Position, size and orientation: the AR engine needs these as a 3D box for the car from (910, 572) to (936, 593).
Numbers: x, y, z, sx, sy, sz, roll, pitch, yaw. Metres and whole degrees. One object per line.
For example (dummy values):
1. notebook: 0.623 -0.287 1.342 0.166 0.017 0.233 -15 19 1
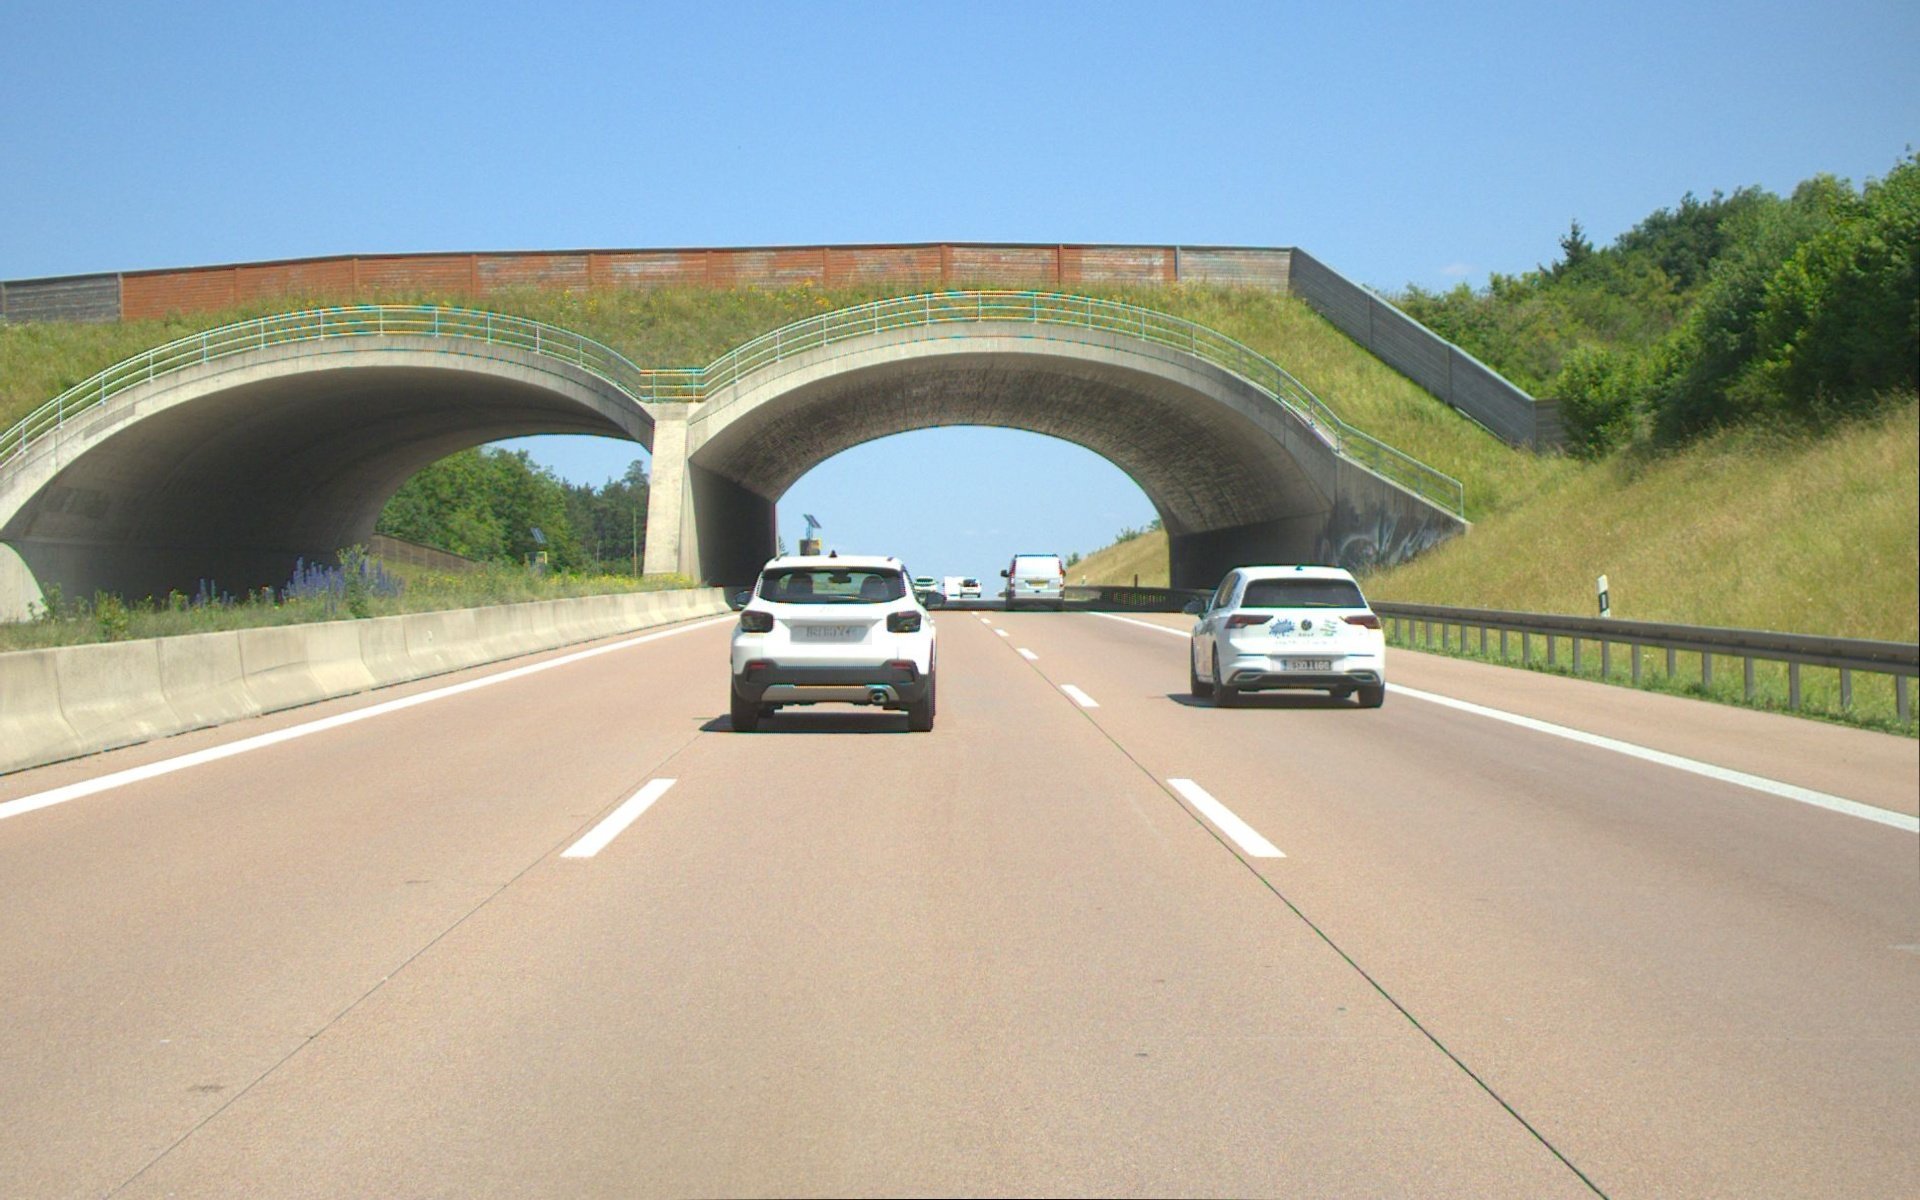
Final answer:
1. car: -2.684 -1.269 250.408 1.891 1.458 4.000 1 1 0

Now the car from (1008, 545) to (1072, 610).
1. car: 2.707 -0.772 115.851 2.110 2.046 4.000 0 2 1

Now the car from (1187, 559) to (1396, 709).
1. car: 3.447 0.315 36.420 1.891 1.393 4.000 1 2 1

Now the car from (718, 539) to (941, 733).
1. car: -1.139 0.262 31.490 1.879 1.602 4.834 0 1 -1
